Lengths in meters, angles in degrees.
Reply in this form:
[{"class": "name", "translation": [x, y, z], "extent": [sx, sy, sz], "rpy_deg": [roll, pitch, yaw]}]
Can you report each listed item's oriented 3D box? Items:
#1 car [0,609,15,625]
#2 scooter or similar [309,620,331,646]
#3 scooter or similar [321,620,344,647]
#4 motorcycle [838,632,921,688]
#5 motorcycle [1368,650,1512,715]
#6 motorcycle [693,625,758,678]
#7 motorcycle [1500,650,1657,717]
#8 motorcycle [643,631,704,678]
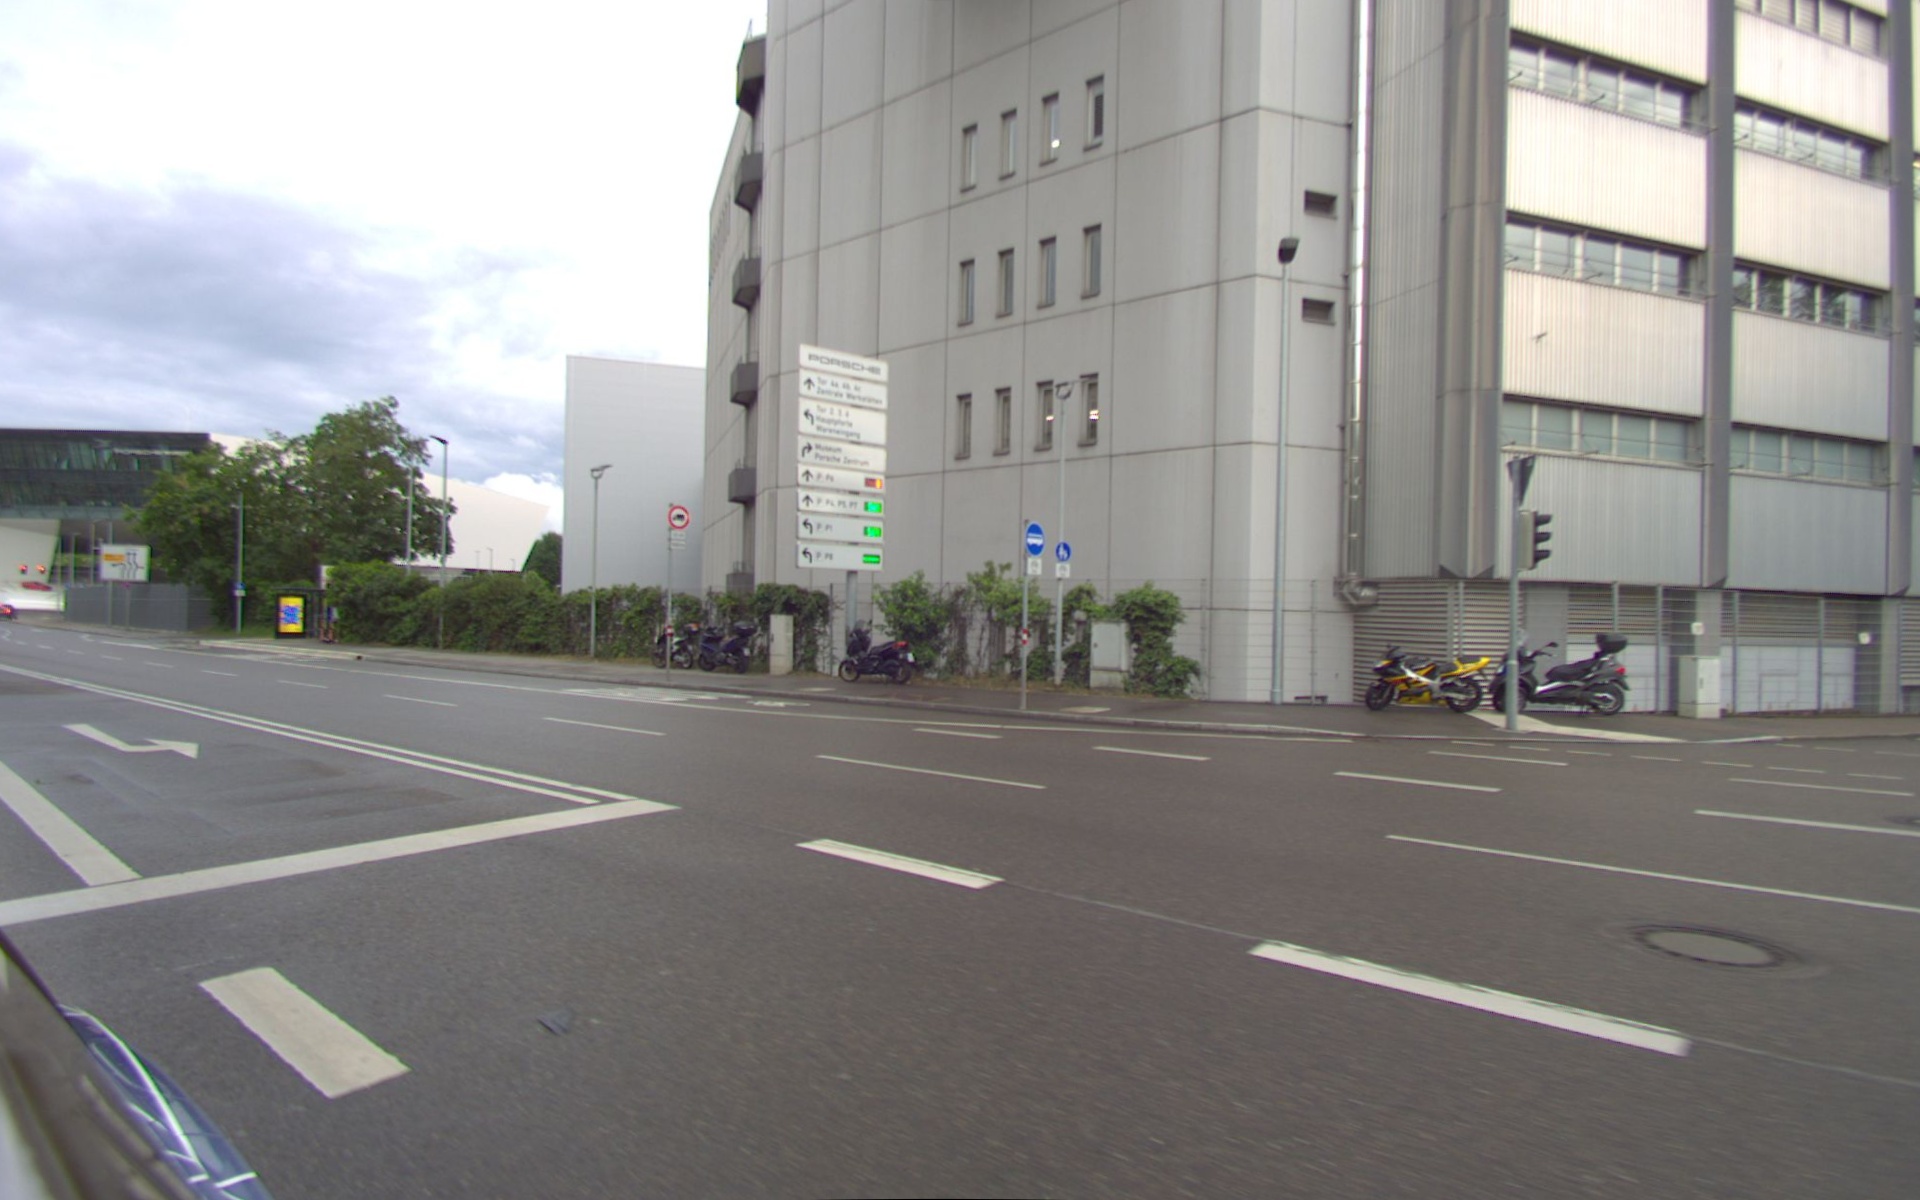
[{"class": "car", "translation": [-97.419, 1.720, 102.693], "extent": [4.484, 1.602, 1.752], "rpy_deg": [-1, -3, 42]}, {"class": "scooter or similar", "translation": [-28.542, 1.474, 45.120], "extent": [1.568, 1.138, 0.389], "rpy_deg": [-1, -3, 41]}, {"class": "scooter or similar", "translation": [-27.290, 1.460, 43.990], "extent": [1.568, 1.138, 0.389], "rpy_deg": [-1, -3, 41]}, {"class": "motorcycle", "translation": [-1.823, 1.328, 22.684], "extent": [2.037, 1.171, 0.562], "rpy_deg": [-1, -3, 39]}, {"class": "motorcycle", "translation": [8.235, 1.405, 17.416], "extent": [2.144, 1.035, 0.625], "rpy_deg": [1, -2, 6]}, {"class": "motorcycle", "translation": [-6.080, 1.310, 26.180], "extent": [0.617, 1.277, 2.172], "rpy_deg": [0, -1, -44]}, {"class": "motorcycle", "translation": [10.381, 1.395, 17.068], "extent": [2.149, 1.035, 0.624], "rpy_deg": [1, -2, 14]}, {"class": "motorcycle", "translation": [-7.938, 1.492, 27.996], "extent": [1.967, 1.224, 0.618], "rpy_deg": [-1, -3, 42]}]
